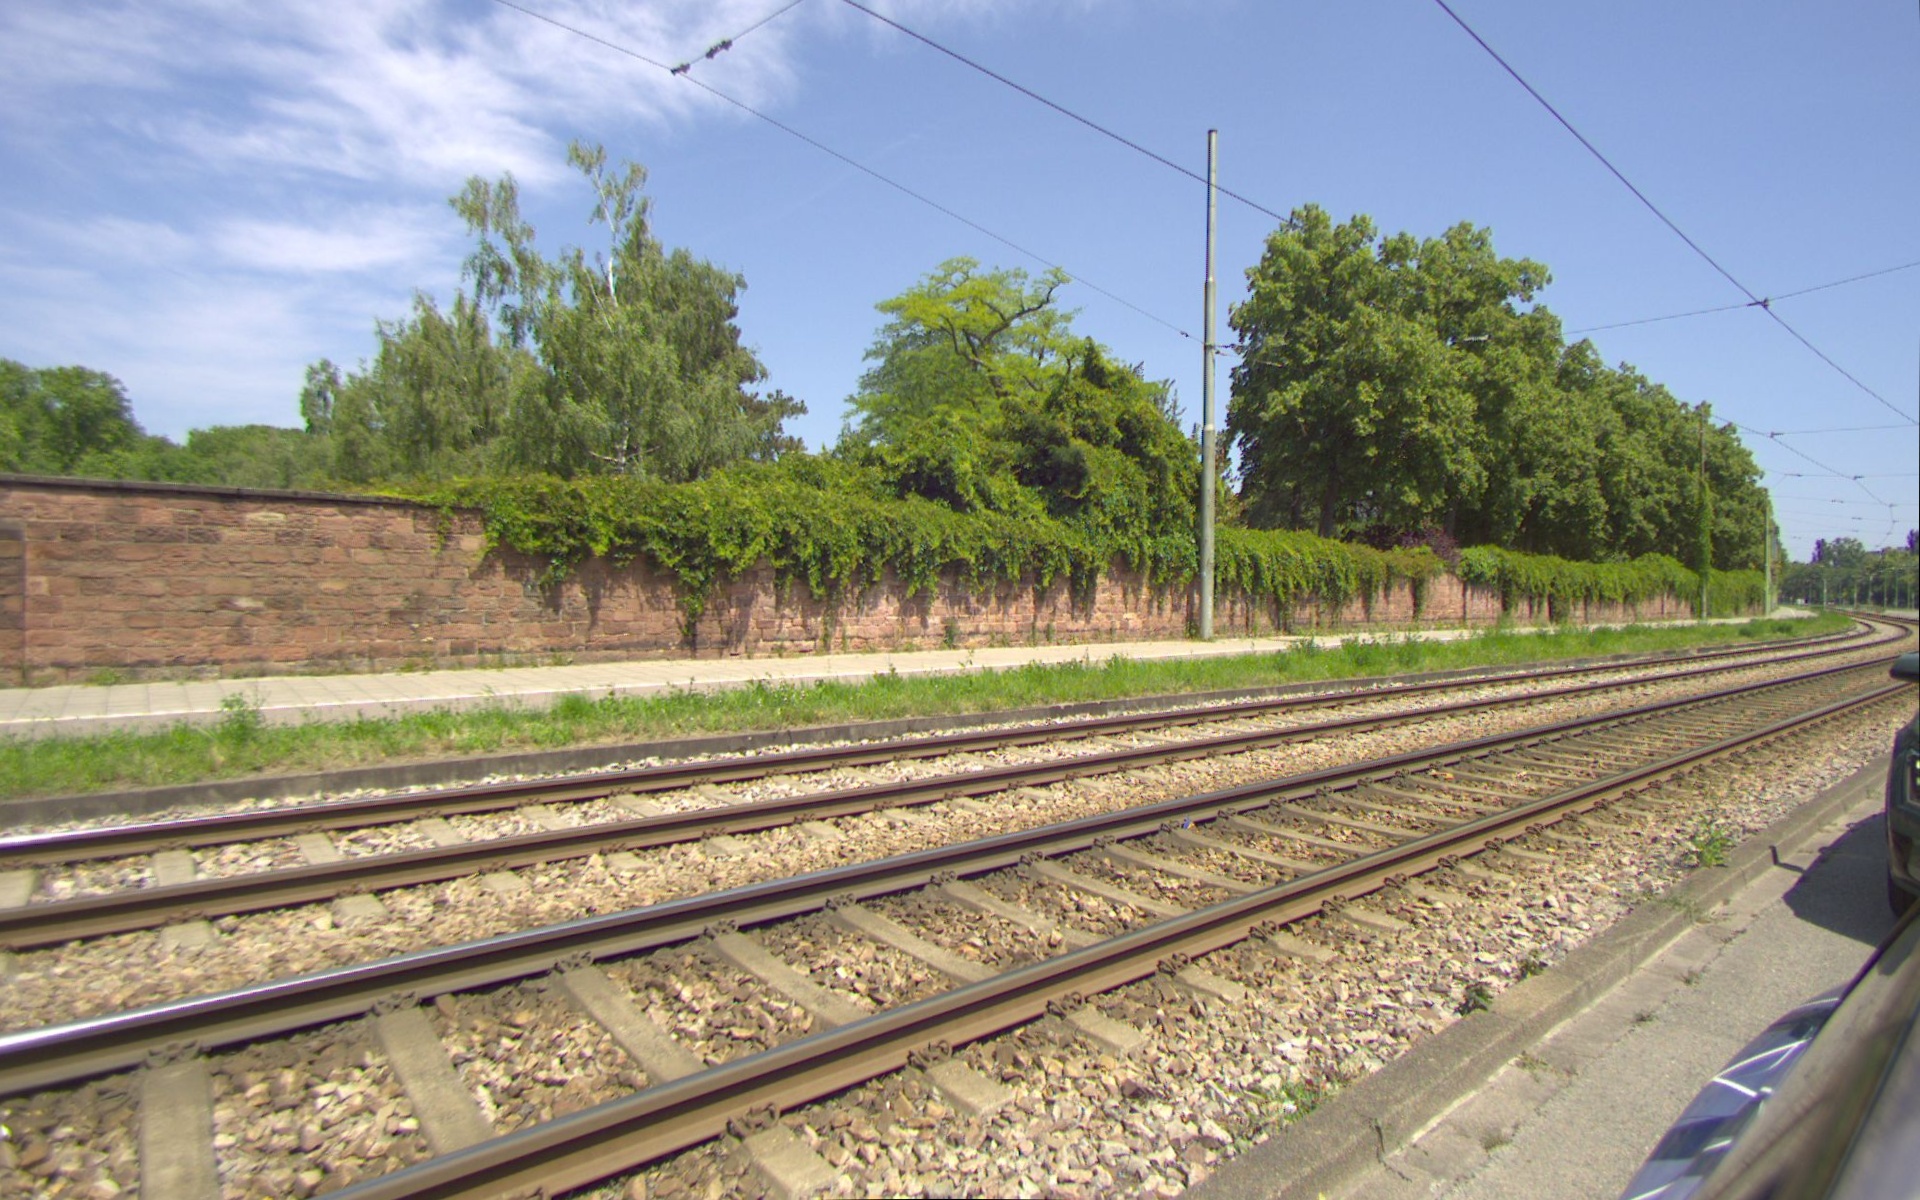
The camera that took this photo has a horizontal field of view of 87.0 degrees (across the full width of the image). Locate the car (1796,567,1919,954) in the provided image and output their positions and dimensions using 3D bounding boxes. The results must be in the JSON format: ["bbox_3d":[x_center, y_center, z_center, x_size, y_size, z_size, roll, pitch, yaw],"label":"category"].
[{"bbox_3d":[5.810,0.639,4.793,3.927,1.563,2.062,0,-1,-38],"label":"car"}]
